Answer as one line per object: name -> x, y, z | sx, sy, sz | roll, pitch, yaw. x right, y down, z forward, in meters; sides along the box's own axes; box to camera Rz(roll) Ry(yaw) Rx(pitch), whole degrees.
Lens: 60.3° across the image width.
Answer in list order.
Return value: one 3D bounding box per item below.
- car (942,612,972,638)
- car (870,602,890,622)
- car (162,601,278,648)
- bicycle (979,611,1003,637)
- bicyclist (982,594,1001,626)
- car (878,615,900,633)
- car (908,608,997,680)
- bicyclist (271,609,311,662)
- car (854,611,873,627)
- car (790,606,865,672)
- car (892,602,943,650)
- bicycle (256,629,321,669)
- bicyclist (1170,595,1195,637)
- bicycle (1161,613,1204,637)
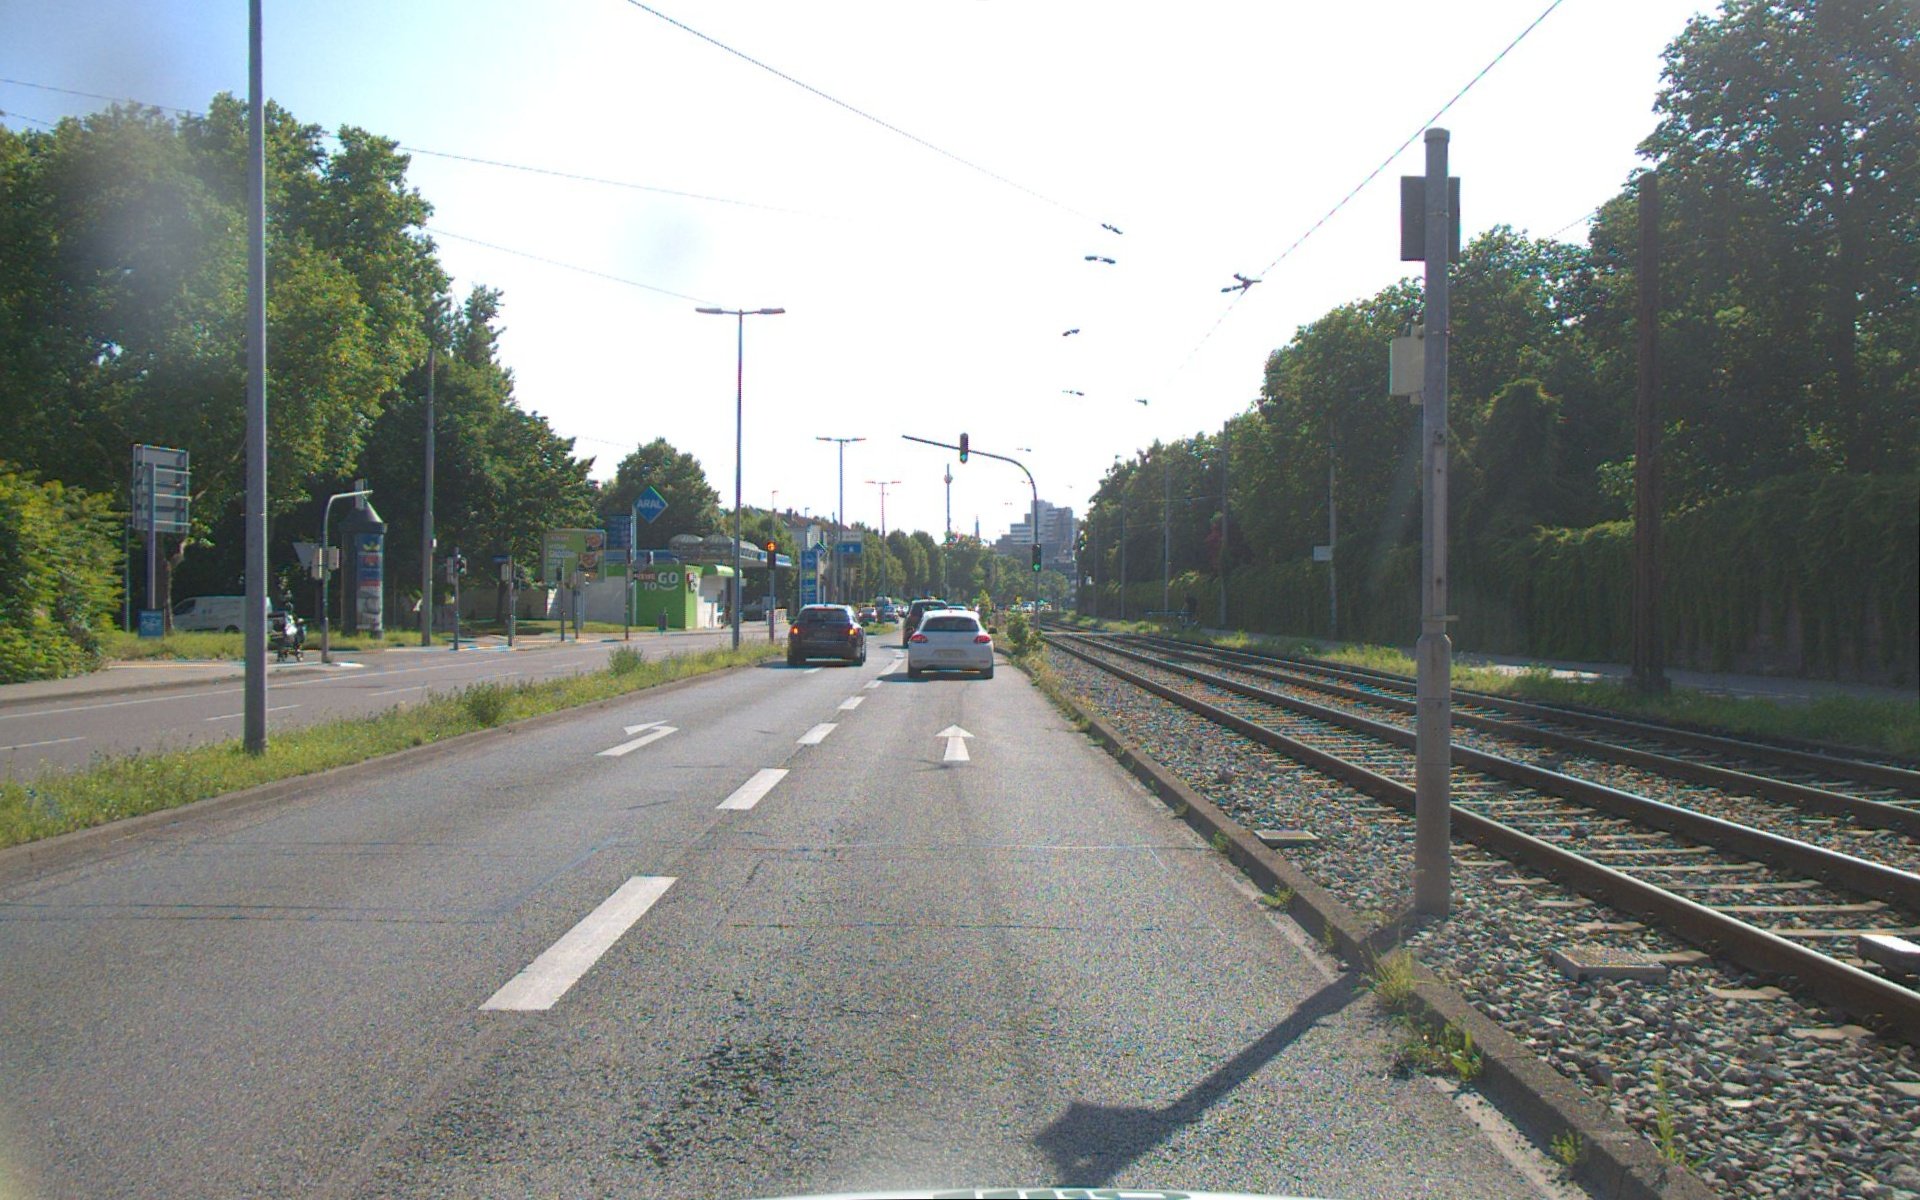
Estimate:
car -> -0.173, 1.547, 103.787 | 1.712, 1.512, 3.602 | 2, 0, 3
car -> -9.937, 1.443, 205.904 | 1.952, 2.418, 4.540 | -1, 0, 4
car -> -32.312, 1.064, 72.290 | 4.295, 1.997, 1.825 | 0, -1, 7
bicycle -> 1.415, 1.100, 76.042 | 0.629, 1.174, 1.938 | 0, 0, 15
bicyclist -> 1.445, 0.455, 76.163 | 0.629, 1.441, 1.013 | 0, 0, 15
car -> -5.859, 2.005, 136.948 | 1.619, 1.420, 4.134 | 0, 0, 0
car -> -0.166, 0.895, 35.000 | 1.744, 1.380, 3.600 | 2, 0, -1
bicyclist -> -18.901, 0.996, 46.751 | 0.648, 1.478, 1.051 | 0, -1, 3
car -> -8.861, 1.745, 152.099 | 1.541, 1.442, 3.334 | 0, 0, 1
car -> -3.248, 0.925, 41.296 | 1.725, 1.512, 4.641 | 2, 0, -3
car -> -1.566, 0.907, 59.692 | 1.690, 1.620, 3.598 | 2, 0, -3
bicycle -> -18.913, 1.377, 46.632 | 0.648, 1.068, 2.581 | 0, 0, 4
bicyclist -> 10.891, 0.795, 80.928 | 1.012, 2.028, 0.947 | -1, -1, 25
bicycle -> 10.893, 1.233, 80.927 | 1.882, 1.134, 0.947 | 0, -1, 25
